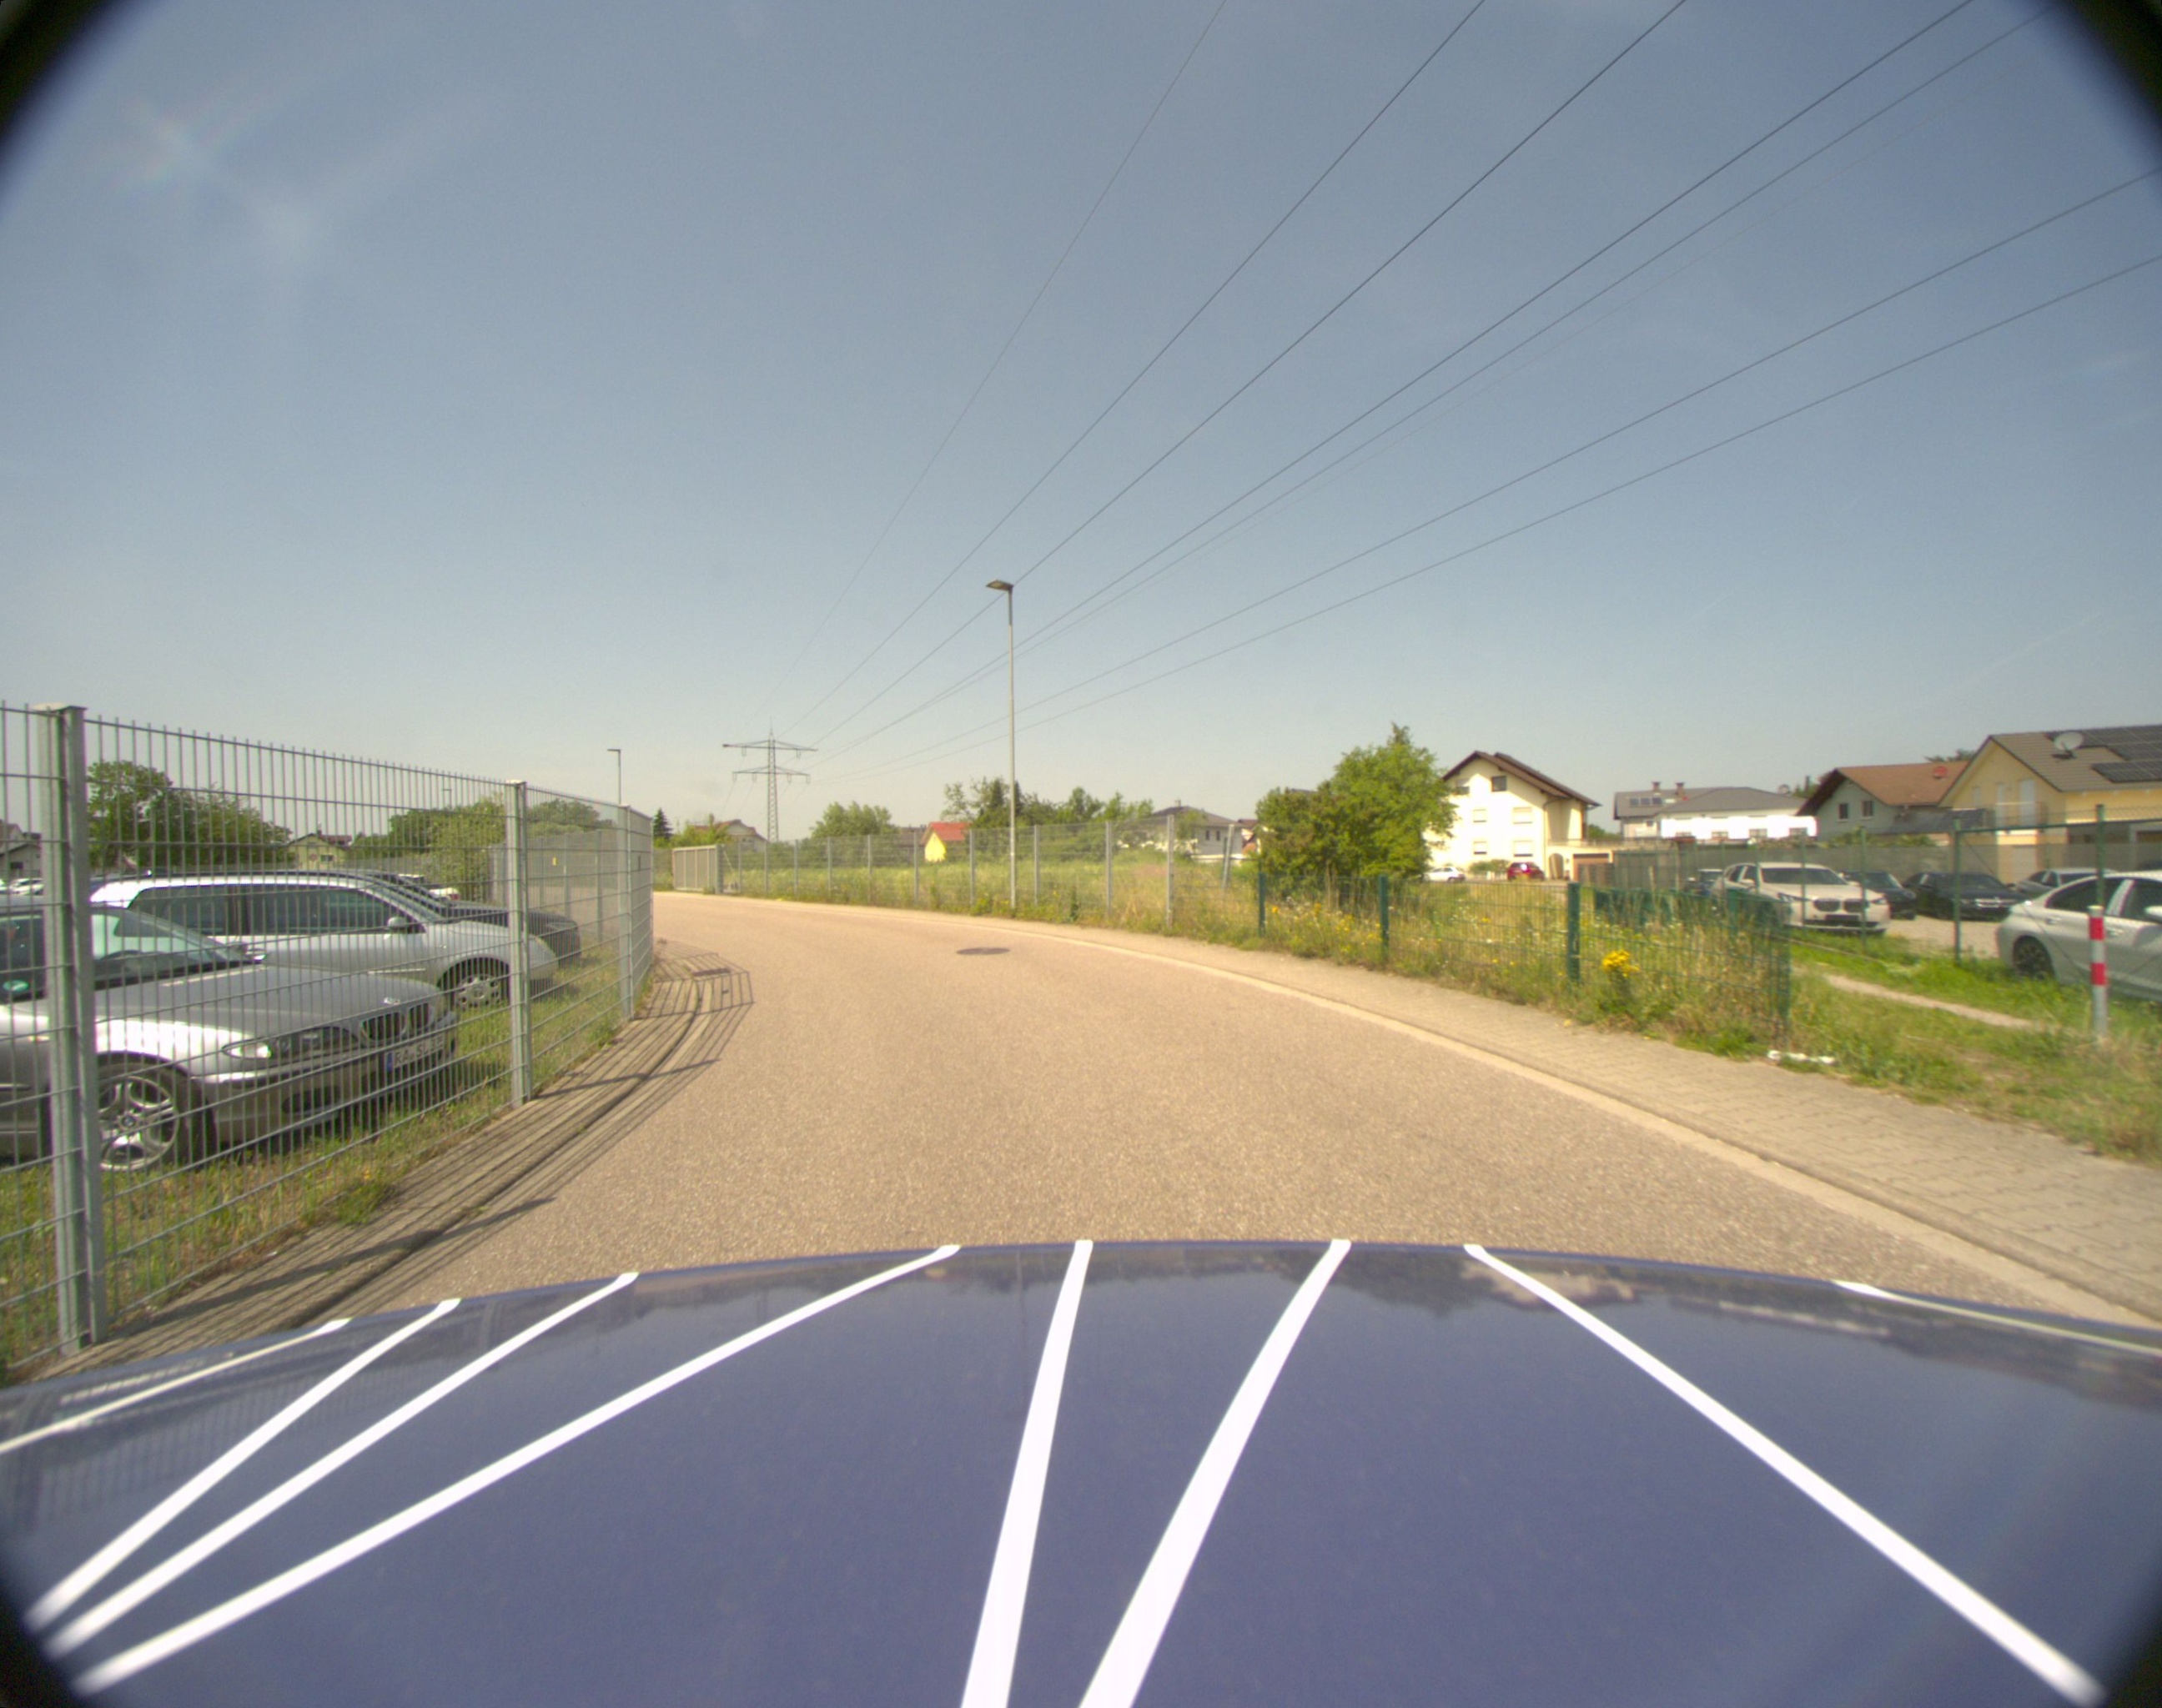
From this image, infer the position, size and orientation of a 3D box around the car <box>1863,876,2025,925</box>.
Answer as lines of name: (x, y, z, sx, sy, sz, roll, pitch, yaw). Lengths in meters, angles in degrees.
car: (28.299, 1.460, 25.150, 2.037, 1.335, 4.425, -1, 0, 27)

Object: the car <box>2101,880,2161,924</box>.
car: (33.303, 1.477, 22.652, 1.789, 1.229, 4.142, 0, 0, 27)

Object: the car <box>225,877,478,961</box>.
car: (-14.628, 1.222, 15.397, 1.632, 1.380, 3.543, -1, 0, 43)

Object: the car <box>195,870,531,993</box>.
car: (-10.857, 1.039, 11.710, 1.706, 1.493, 3.558, -1, 0, 43)

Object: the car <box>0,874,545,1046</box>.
car: (-9.331, 1.046, 9.070, 4.561, 1.466, 1.820, -1, 0, -44)

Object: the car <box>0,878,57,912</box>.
car: (-46.917, 1.772, 32.361, 1.607, 1.428, 3.781, -2, -1, 30)

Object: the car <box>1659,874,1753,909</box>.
car: (23.303, 1.356, 28.492, 1.862, 1.101, 4.011, -1, 0, 27)

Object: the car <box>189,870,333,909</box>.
car: (-36.371, 1.529, 33.816, 1.633, 1.330, 4.184, -1, 3, 42)

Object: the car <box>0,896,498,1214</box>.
car: (-6.159, 1.019, 4.214, 4.358, 1.387, 1.615, -1, 0, -10)

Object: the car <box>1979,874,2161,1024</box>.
car: (11.070, 0.913, 7.067, 1.864, 1.299, 4.570, 0, 0, 27)

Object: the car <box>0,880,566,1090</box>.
car: (-7.279, 1.033, 7.414, 3.482, 1.414, 1.632, -1, 0, -44)

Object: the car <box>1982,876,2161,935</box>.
car: (31.034, 1.532, 23.872, 2.037, 1.527, 4.142, 0, 0, 27)

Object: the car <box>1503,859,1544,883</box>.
car: (35.070, 1.310, 60.181, 1.861, 1.718, 4.144, 0, 1, 43)

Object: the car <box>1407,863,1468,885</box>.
car: (28.533, 1.554, 60.854, 4.074, 1.674, 1.869, -1, 0, 43)

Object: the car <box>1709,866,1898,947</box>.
car: (16.766, 1.109, 17.956, 2.037, 1.553, 4.446, 0, 0, 27)
